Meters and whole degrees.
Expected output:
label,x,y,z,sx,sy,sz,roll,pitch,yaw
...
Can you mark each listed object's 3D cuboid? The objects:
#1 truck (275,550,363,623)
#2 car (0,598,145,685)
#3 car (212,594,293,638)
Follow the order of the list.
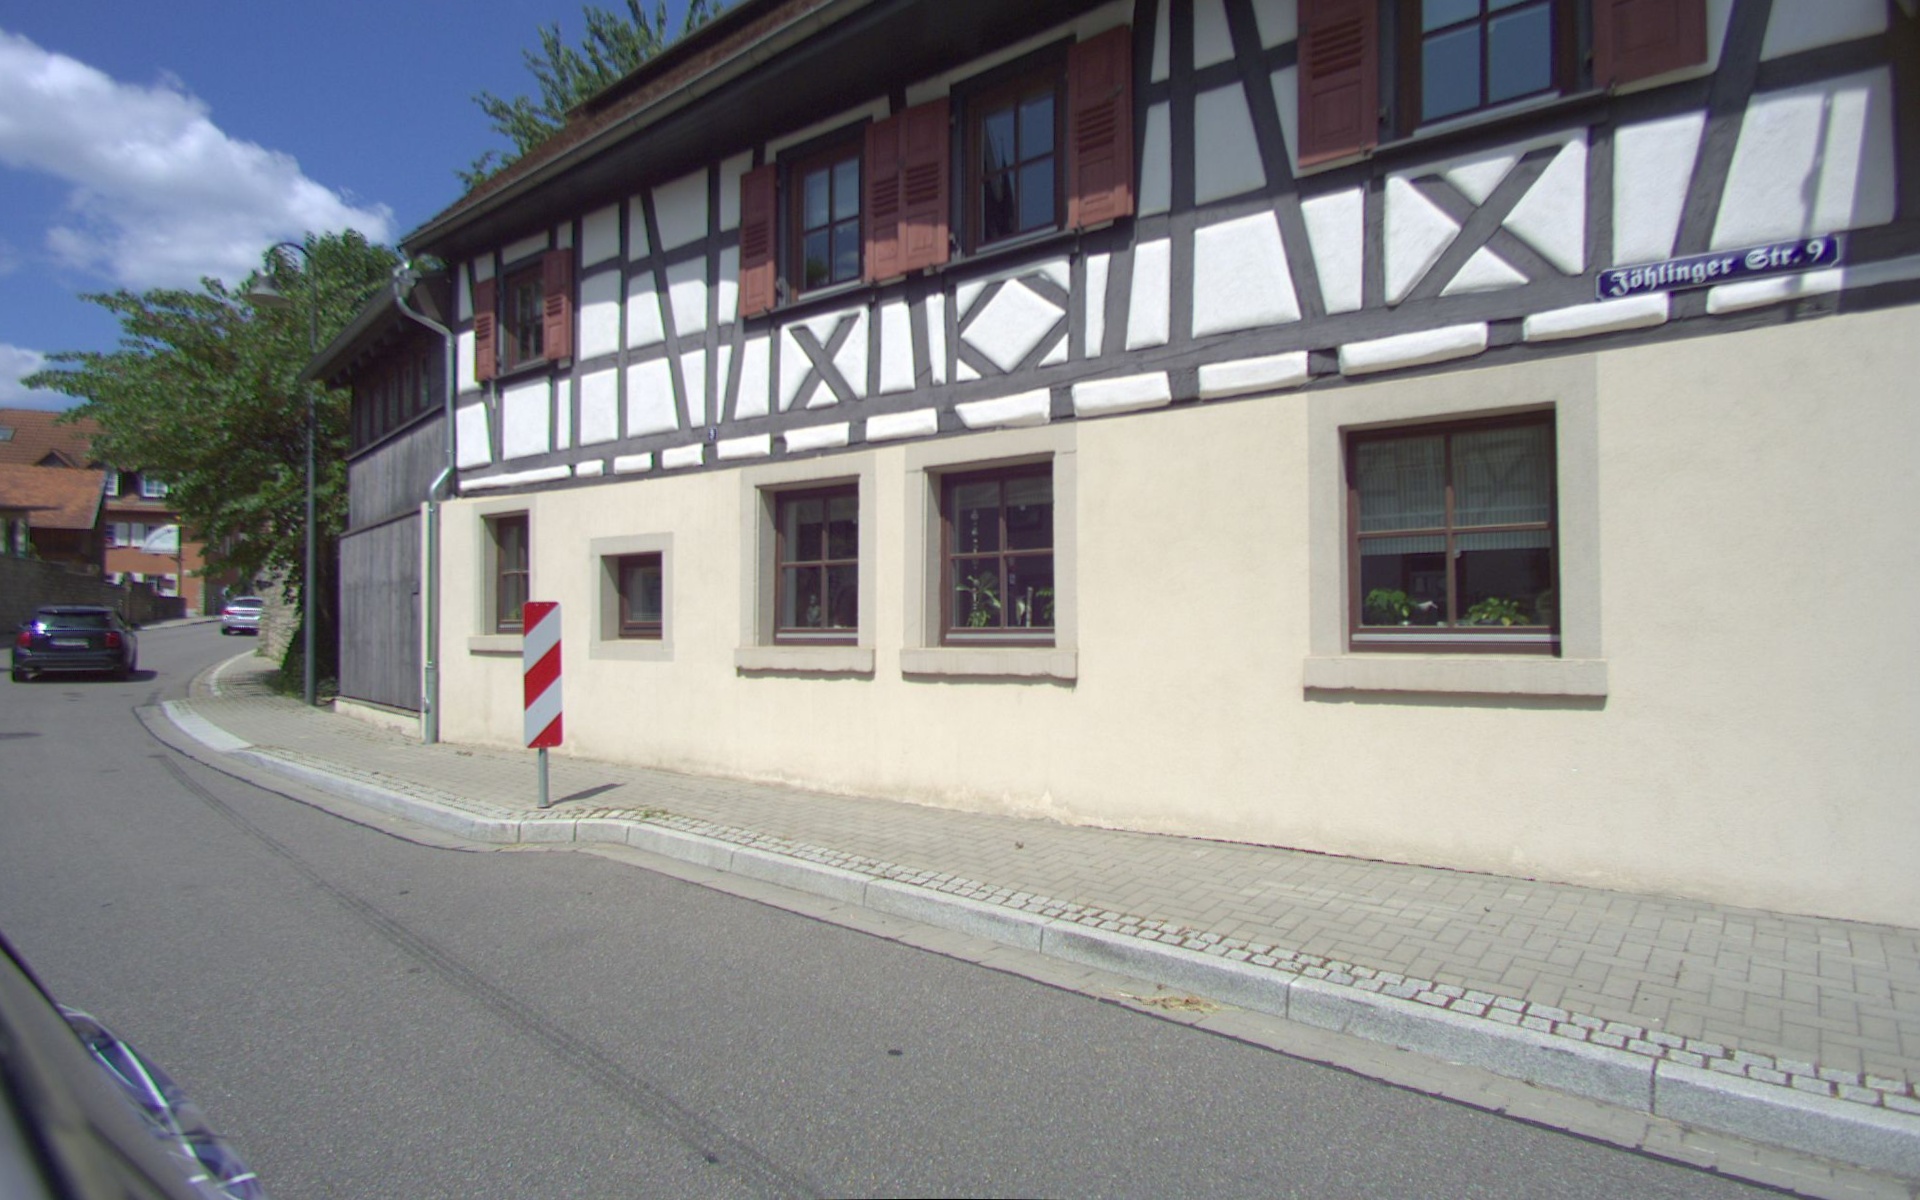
label,x,y,z,sx,sy,sz,roll,pitch,yaw
truck,-34.984,-0.667,55.566,2.377,3.686,9.599,1,0,-22
car,-17.635,0.764,20.287,1.676,1.476,4.447,2,0,-35
car,-27.646,0.588,39.698,1.868,1.511,4.629,2,1,-26
